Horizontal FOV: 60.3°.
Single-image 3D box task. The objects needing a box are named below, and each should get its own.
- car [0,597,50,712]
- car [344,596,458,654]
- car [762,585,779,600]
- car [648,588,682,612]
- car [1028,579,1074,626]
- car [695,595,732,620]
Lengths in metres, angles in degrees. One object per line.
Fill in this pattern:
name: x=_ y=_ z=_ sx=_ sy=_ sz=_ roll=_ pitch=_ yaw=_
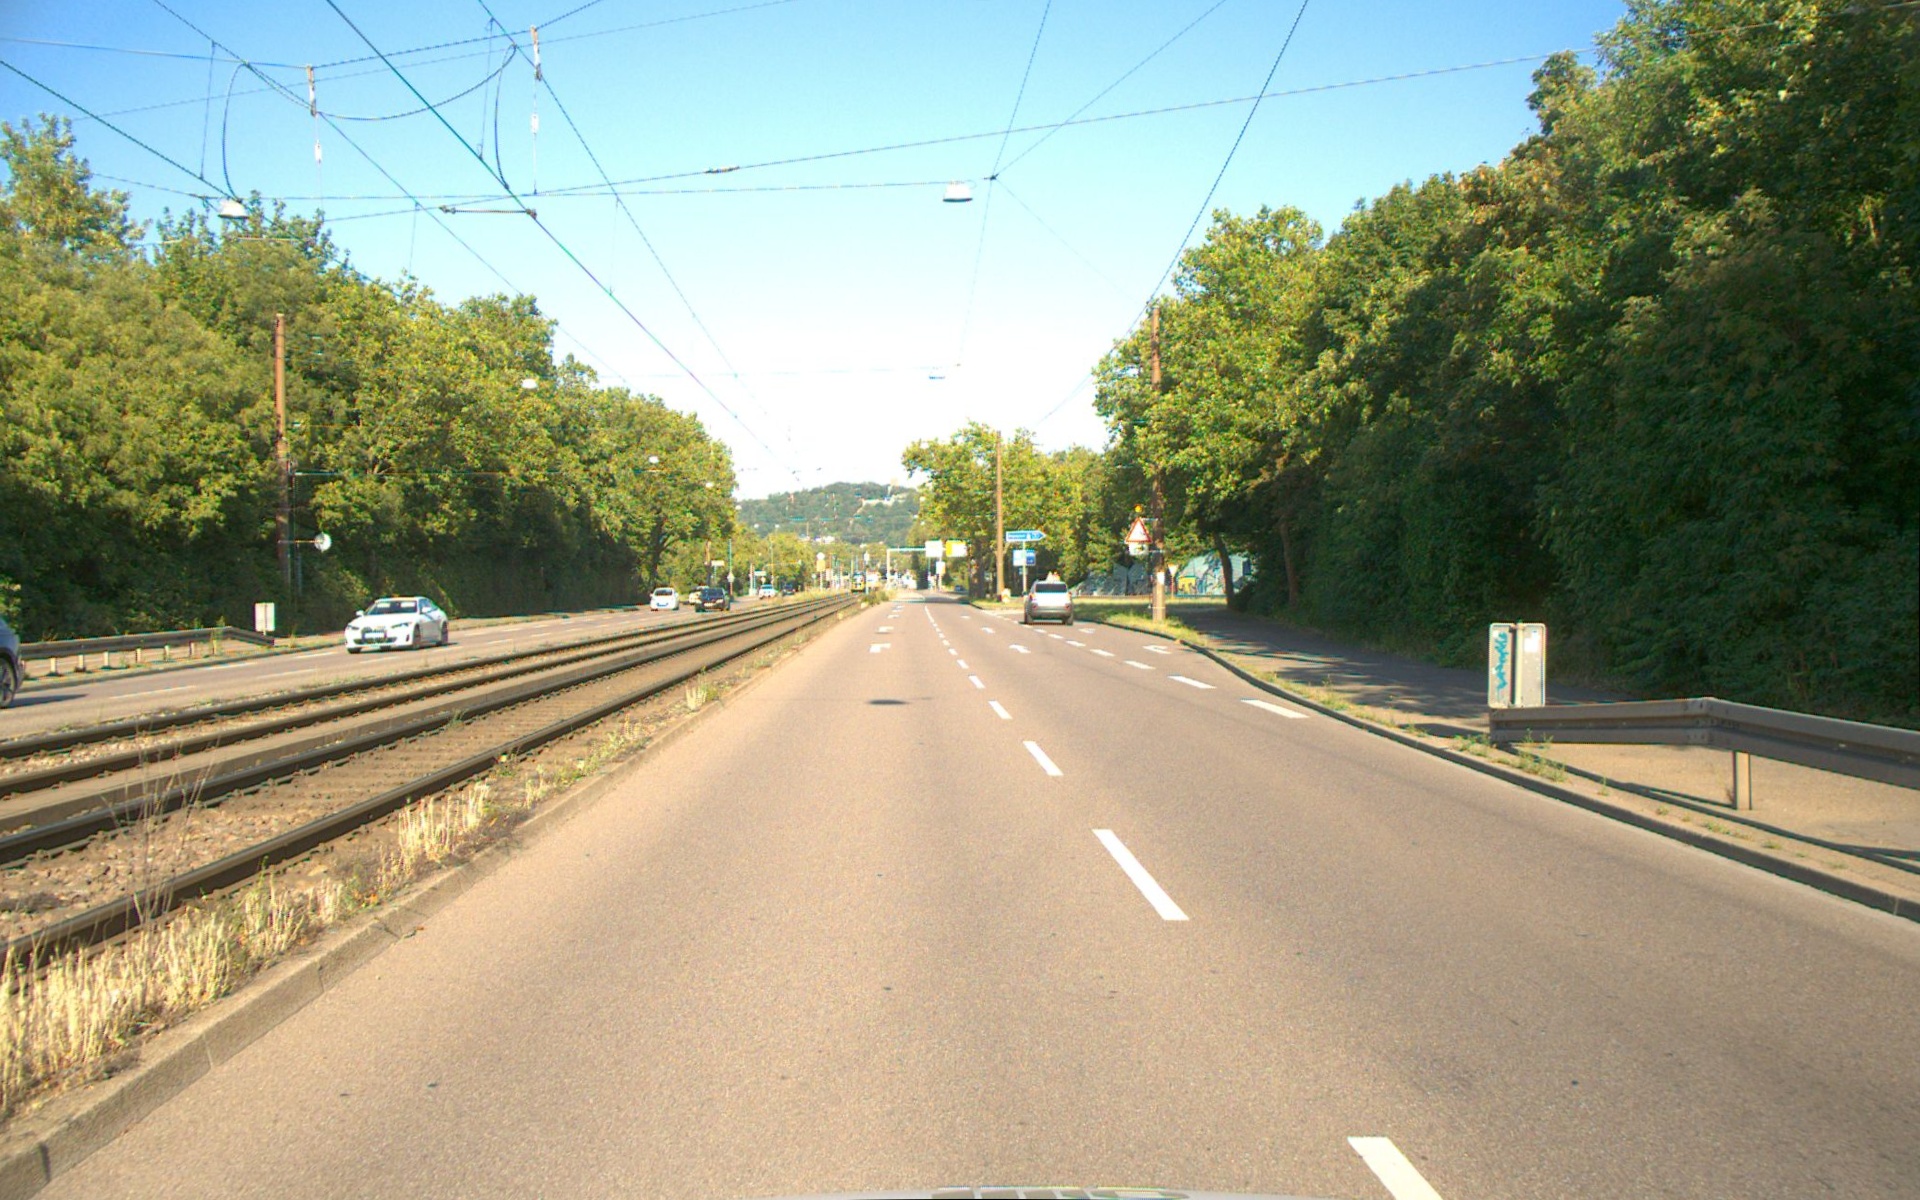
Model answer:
car: x=-14.212 y=0.788 z=22.060 sx=1.675 sy=1.608 sz=4.798 roll=-1 pitch=0 yaw=-3
car: x=-15.572 y=0.669 z=46.330 sx=1.720 sy=1.439 sz=4.874 roll=-3 pitch=0 yaw=-3
car: x=-23.693 y=-0.929 z=207.006 sx=1.924 sy=1.737 sz=4.940 roll=-3 pitch=0 yaw=-4
car: x=-21.069 y=-0.022 z=118.201 sx=1.657 sy=1.583 sz=4.190 roll=-3 pitch=0 yaw=-1
car: x=3.582 y=0.103 z=65.485 sx=1.771 sy=1.804 sz=3.863 roll=0 pitch=0 yaw=2
car: x=-15.247 y=0.458 z=102.524 sx=1.624 sy=1.457 sz=4.500 roll=-3 pitch=0 yaw=-1
